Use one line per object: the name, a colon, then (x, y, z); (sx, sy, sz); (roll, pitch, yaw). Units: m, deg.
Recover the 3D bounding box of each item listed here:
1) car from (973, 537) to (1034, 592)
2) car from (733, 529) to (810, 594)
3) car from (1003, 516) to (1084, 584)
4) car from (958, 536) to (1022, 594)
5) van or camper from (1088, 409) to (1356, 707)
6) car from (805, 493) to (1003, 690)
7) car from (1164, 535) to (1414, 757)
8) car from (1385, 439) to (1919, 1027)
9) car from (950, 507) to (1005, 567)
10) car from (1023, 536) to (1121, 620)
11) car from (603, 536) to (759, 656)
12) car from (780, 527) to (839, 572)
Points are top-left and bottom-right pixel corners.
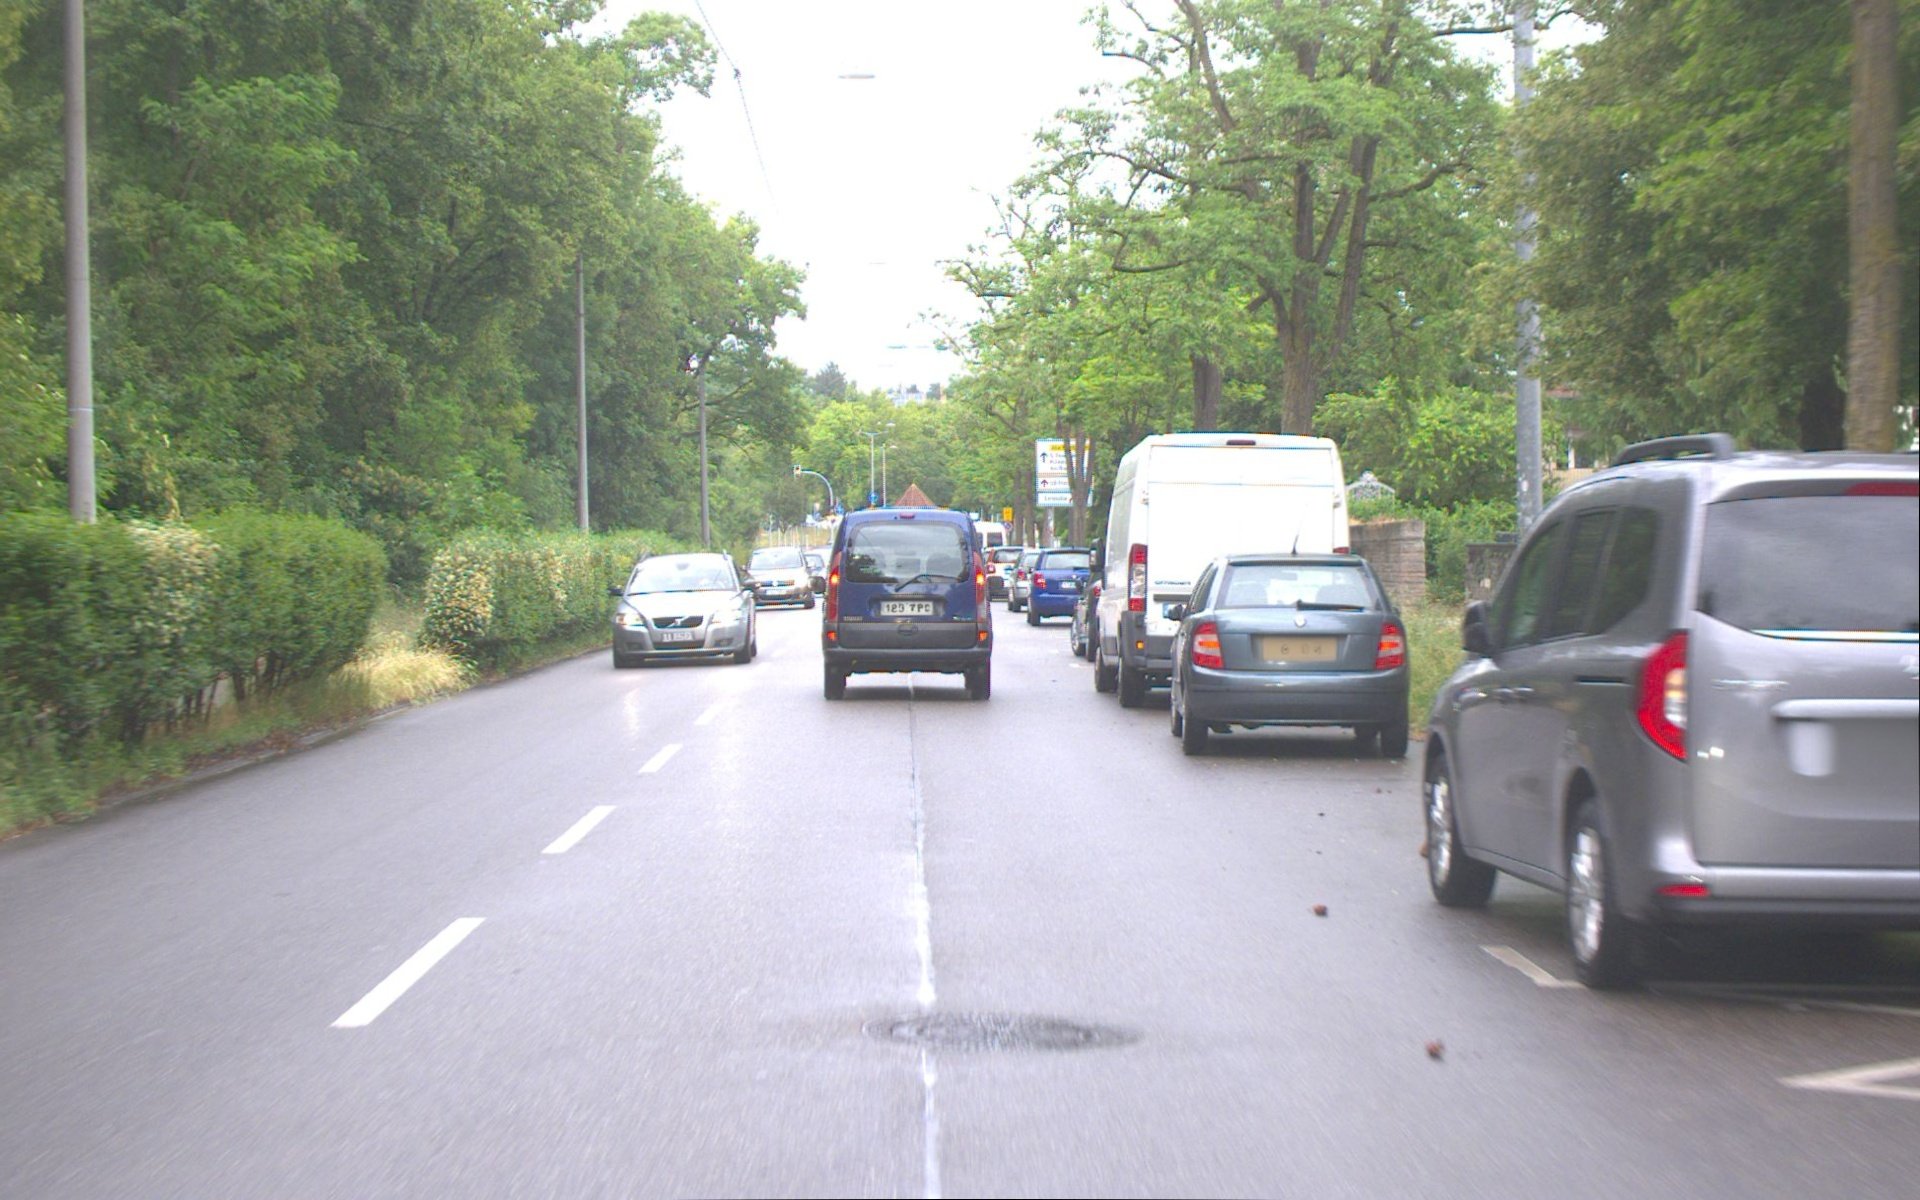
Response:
car: (1.306, -1.067, 102.055); (1.698, 1.519, 3.867); (1, 2, 2)
car: (-4.683, -0.971, 85.937); (1.730, 1.487, 4.001); (-2, 2, -1)
car: (1.901, -1.176, 79.445); (1.618, 1.503, 3.835); (1, 2, -2)
car: (0.809, -0.984, 95.612); (1.632, 1.504, 2.958); (1, 2, -2)
van or camper: (2.452, -0.462, 33.503); (2.078, 2.641, 5.347); (1, 2, -1)
car: (-0.604, -0.132, 34.006); (1.766, 1.824, 3.543); (1, 2, -4)
car: (2.381, 0.280, 25.648); (1.626, 1.459, 3.808); (1, 2, 2)
car: (2.852, 0.351, 12.771); (1.814, 1.807, 4.283); (1, 2, -2)
car: (0.703, -2.620, 143.316); (2.205, 2.441, 4.729); (-1, 1, -1)
car: (2.129, -0.448, 66.280); (1.721, 1.500, 4.050); (1, 2, 0)
car: (-3.633, -0.052, 45.348); (1.783, 1.474, 3.968); (-1, 0, -1)
car: (-5.422, -1.837, 124.324); (1.856, 1.463, 4.447); (-3, 2, 0)
